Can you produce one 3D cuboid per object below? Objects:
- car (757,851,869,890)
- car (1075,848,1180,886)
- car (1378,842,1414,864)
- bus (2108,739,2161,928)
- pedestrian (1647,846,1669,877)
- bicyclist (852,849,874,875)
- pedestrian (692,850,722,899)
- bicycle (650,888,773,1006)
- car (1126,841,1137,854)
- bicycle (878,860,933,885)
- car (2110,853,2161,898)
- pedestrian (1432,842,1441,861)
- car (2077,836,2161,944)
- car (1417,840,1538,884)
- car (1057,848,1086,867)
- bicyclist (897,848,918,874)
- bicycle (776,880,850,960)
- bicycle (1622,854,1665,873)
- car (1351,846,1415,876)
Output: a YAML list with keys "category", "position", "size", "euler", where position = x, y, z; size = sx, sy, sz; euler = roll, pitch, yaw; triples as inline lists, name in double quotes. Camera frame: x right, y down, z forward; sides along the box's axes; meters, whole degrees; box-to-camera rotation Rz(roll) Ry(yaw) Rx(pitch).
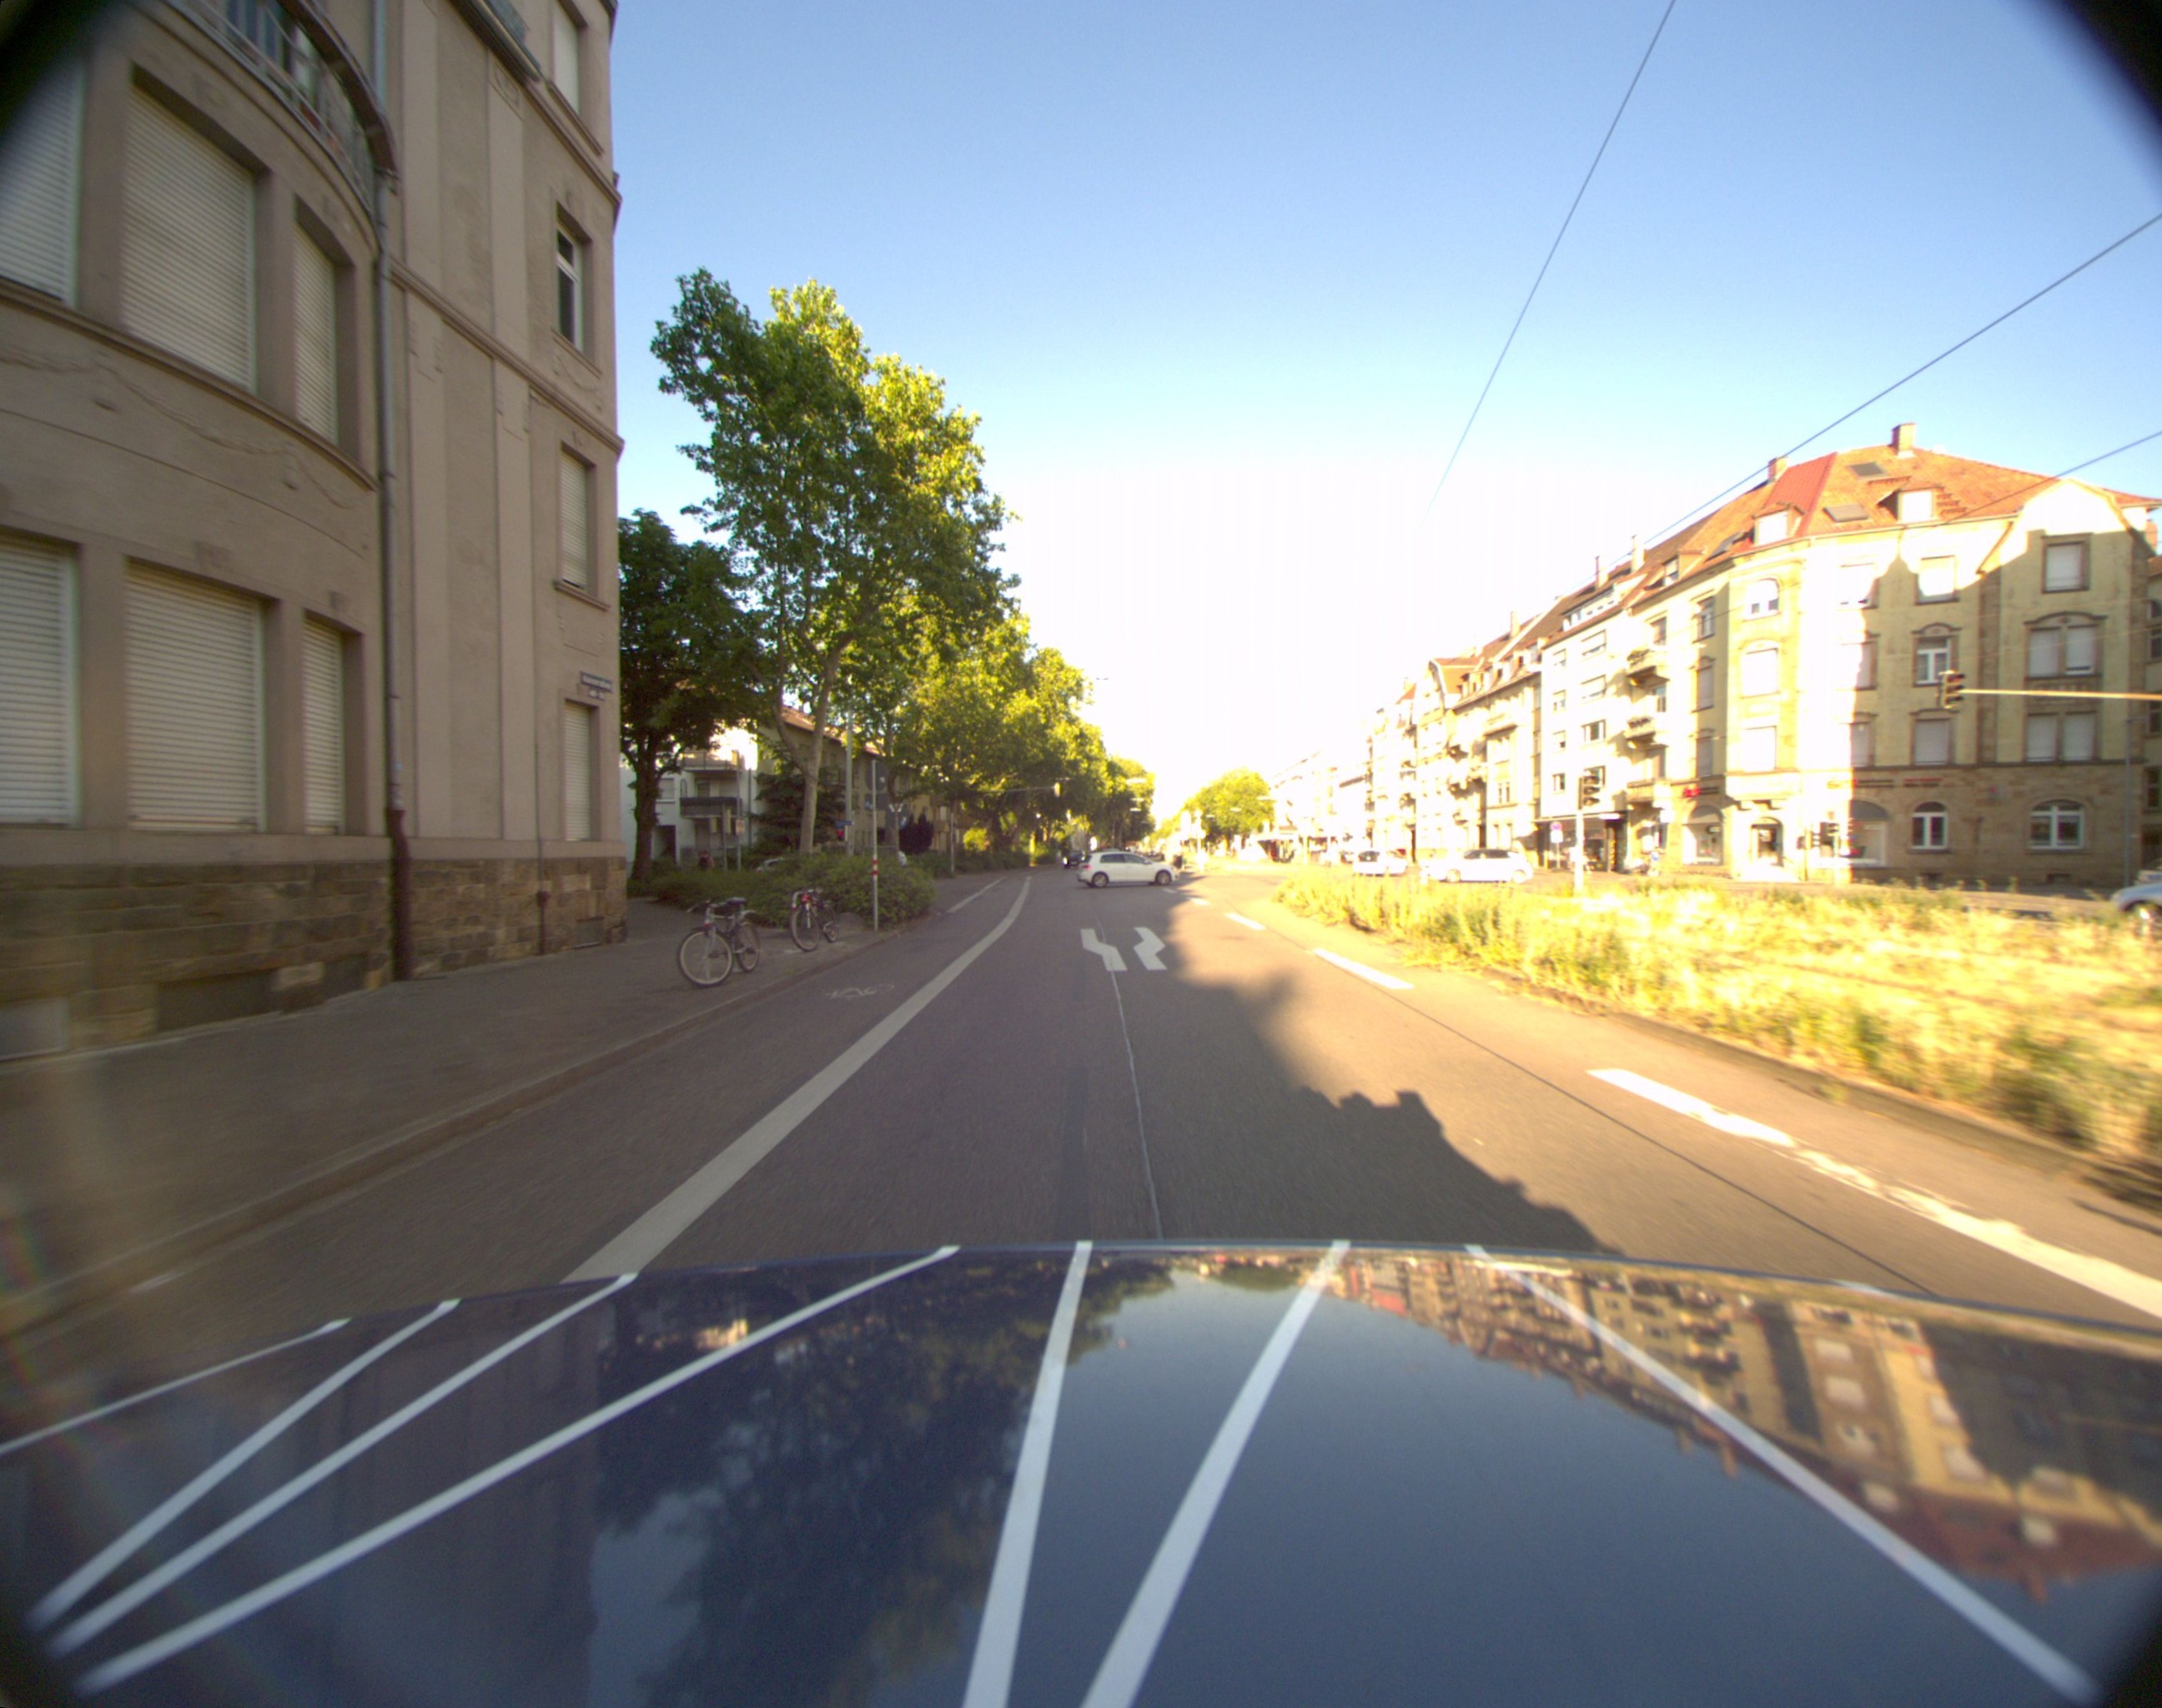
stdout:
- category: "car"
  position: [-11.131, 0.657, 31.676]
  size: [4.050, 1.517, 1.783]
  euler: [0, 2, 10]
- category: "car"
  position: [1.899, 0.515, 31.759]
  size: [4.110, 1.442, 1.843]
  euler: [0, 2, -7]
- category: "car"
  position: [29.131, -0.143, 70.446]
  size: [1.918, 1.889, 4.310]
  euler: [0, 2, 6]
- category: "bus"
  position: [20.533, -0.245, 9.138]
  size: [3.272, 3.355, 9.899]
  euler: [0, 2, 4]
- category: "pedestrian"
  position: [31.389, 0.400, 41.336]
  size: [0.630, 1.631, 0.770]
  euler: [0, 1, 3]
- category: "bicyclist"
  position: [-10.021, 0.362, 34.978]
  size: [0.766, 1.151, 0.612]
  euler: [0, 2, 8]
- category: "pedestrian"
  position: [-13.995, 0.757, 28.460]
  size: [0.665, 1.796, 0.703]
  euler: [0, 2, 12]
- category: "bicycle"
  position: [-4.123, 0.983, 8.641]
  size: [0.438, 1.092, 1.932]
  euler: [0, 1, 0]
- category: "car"
  position: [9.060, -1.187, 135.144]
  size: [1.877, 2.279, 4.001]
  euler: [0, 1, 4]
- category: "bicycle"
  position: [-8.543, 0.900, 36.999]
  size: [2.549, 1.099, 0.653]
  euler: [-1, 2, 8]
- category: "car"
  position: [37.814, 0.747, 25.372]
  size: [4.167, 1.469, 1.738]
  euler: [1, 2, 5]
- category: "pedestrian"
  position: [33.353, -0.231, 71.361]
  size: [0.640, 1.827, 0.477]
  euler: [0, 2, 7]
- category: "car"
  position: [17.652, 0.592, 10.791]
  size: [1.934, 1.674, 4.001]
  euler: [0, 2, 7]
- category: "car"
  position: [16.144, 0.298, 31.133]
  size: [3.995, 1.696, 1.836]
  euler: [0, 2, 7]
- category: "car"
  position: [-0.802, 0.251, 66.614]
  size: [1.877, 1.587, 4.002]
  euler: [0, 1, 8]
- category: "bicyclist"
  position: [-8.439, 0.346, 36.978]
  size: [0.766, 1.229, 0.661]
  euler: [0, 2, 8]
- category: "bicycle"
  position: [-4.086, 0.968, 11.717]
  size: [0.370, 1.062, 1.874]
  euler: [0, 1, 4]
- category: "bicycle"
  position: [32.072, 0.515, 43.353]
  size: [0.667, 1.050, 2.503]
  euler: [0, 1, 1]
- category: "car"
  position: [15.517, 0.316, 38.988]
  size: [1.732, 1.471, 3.822]
  euler: [1, 1, 44]
